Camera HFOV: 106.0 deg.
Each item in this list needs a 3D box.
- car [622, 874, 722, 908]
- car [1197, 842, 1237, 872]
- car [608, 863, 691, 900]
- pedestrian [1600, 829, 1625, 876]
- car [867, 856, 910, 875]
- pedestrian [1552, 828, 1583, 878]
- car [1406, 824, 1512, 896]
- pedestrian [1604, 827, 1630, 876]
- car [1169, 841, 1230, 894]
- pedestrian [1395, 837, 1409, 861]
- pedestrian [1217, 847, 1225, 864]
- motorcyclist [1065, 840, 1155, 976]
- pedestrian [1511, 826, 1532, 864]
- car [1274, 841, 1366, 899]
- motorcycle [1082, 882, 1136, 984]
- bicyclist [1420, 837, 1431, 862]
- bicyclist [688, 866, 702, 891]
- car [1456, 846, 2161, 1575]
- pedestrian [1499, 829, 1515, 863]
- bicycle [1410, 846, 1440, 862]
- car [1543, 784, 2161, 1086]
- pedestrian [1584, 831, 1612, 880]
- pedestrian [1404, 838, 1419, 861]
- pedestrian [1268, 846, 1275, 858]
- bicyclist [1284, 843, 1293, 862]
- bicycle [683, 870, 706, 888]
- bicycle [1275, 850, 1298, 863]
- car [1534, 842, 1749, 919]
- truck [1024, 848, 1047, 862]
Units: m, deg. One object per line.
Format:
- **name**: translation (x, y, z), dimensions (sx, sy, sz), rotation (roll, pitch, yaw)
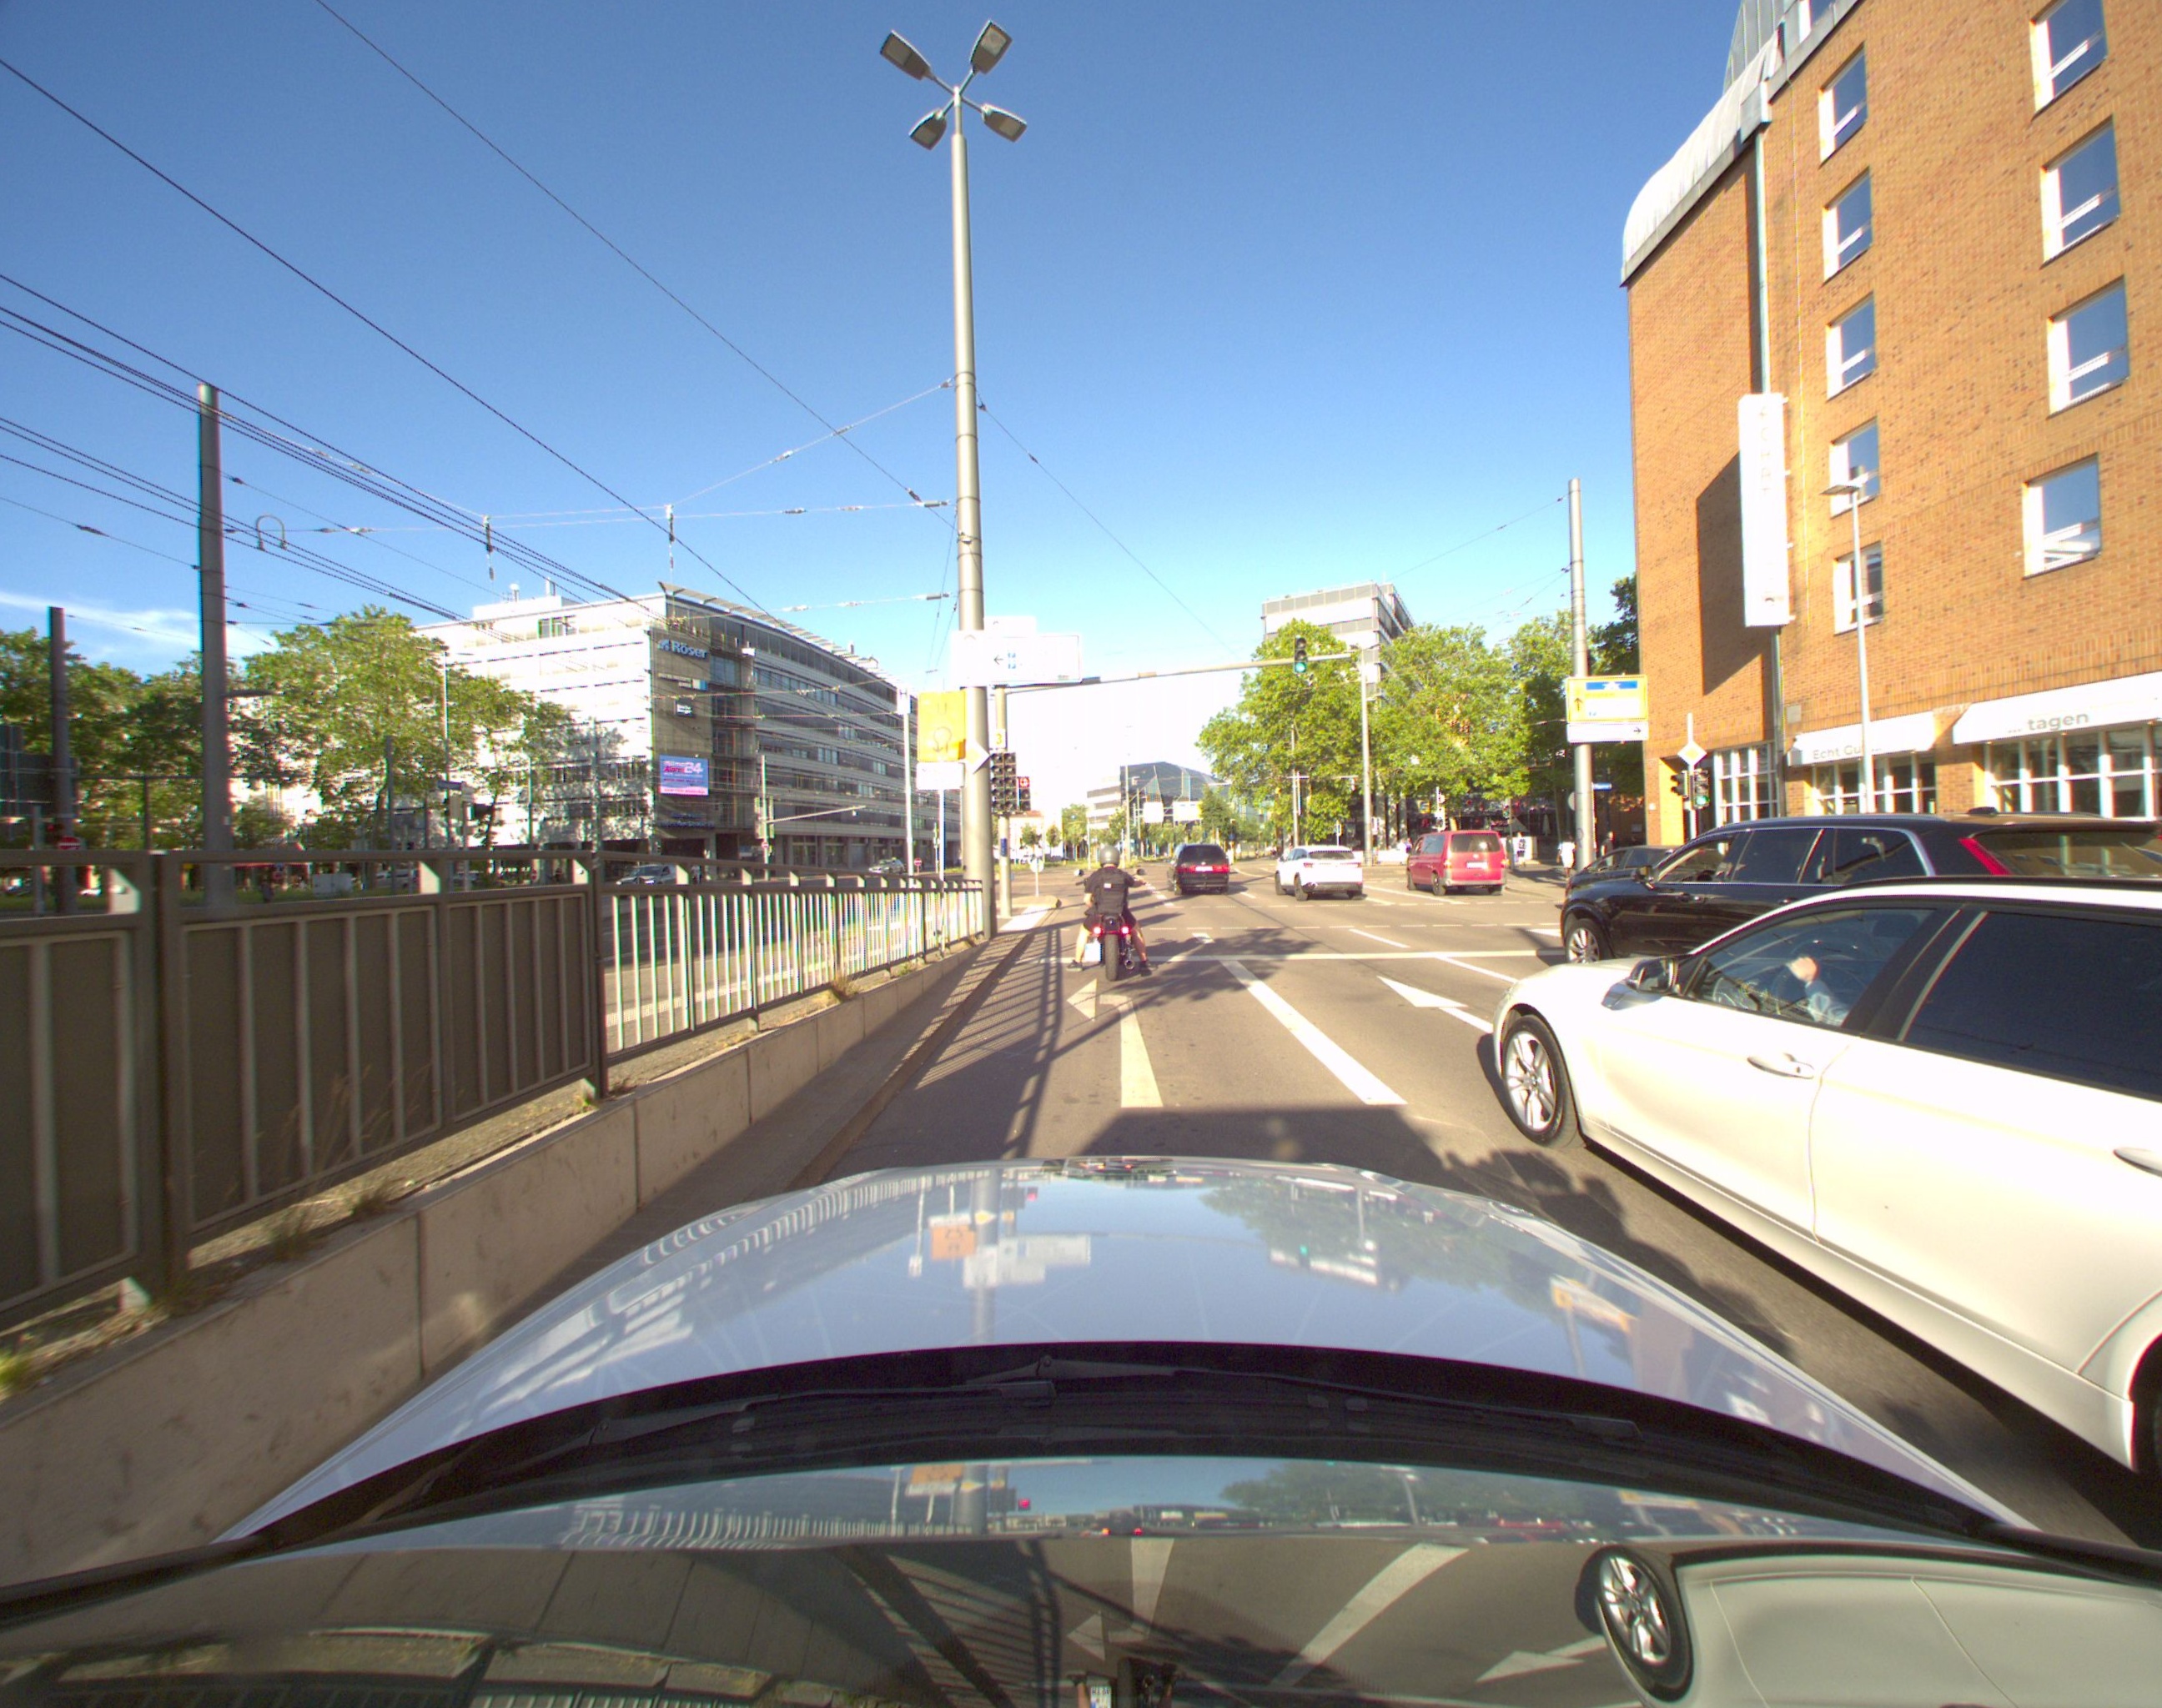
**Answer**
- **car**: translation (-13.854, 1.230, 27.693), dimensions (2.884, 1.063, 1.235), rotation (0, -1, -19)
- **car**: translation (7.922, 0.197, 47.744), dimensions (1.797, 1.678, 4.041), rotation (0, -1, 1)
- **car**: translation (-20.712, 1.276, 39.296), dimensions (1.821, 1.568, 4.237), rotation (-2, -1, -2)
- **pedestrian**: translation (20.036, -0.047, 30.706), dimensions (0.619, 1.729, 0.633), rotation (-1, -1, 18)
- **car**: translation (-16.953, 0.984, 71.928), dimensions (1.813, 1.568, 4.710), rotation (-3, -1, 12)
- **pedestrian**: translation (17.940, -0.029, 30.036), dimensions (0.591, 1.780, 0.681), rotation (-5, -2, -1)
- **car**: translation (11.765, 0.182, 25.678), dimensions (1.793, 2.009, 4.484), rotation (-2, -1, 9)
- **pedestrian**: translation (20.064, -0.086, 30.489), dimensions (0.727, 1.792, 0.515), rotation (-1, -1, 42)
- **car**: translation (3.965, 0.438, 27.785), dimensions (1.795, 1.678, 4.046), rotation (0, -1, 5)
- **pedestrian**: translation (20.722, -0.303, 52.583), dimensions (0.565, 1.532, 0.701), rotation (0, -1, -6)
- **pedestrian**: translation (12.538, 0.150, 73.189), dimensions (0.587, 1.557, 0.488), rotation (0, -1, -6)
- **motorcyclist**: translation (0.356, 0.646, 10.158), dimensions (1.027, 1.593, 0.874), rotation (-2, 0, 1)
- **pedestrian**: translation (22.378, -0.436, 41.379), dimensions (0.783, 1.898, 0.821), rotation (-1, -1, 21)
- **car**: translation (7.106, 0.474, 24.638), dimensions (1.725, 1.598, 4.043), rotation (0, -1, 2)
- **motorcycle**: translation (0.348, 0.922, 10.233), dimensions (0.598, 1.036, 2.235), rotation (0, 0, 2)
- **bicyclist**: translation (25.678, -0.314, 60.724), dimensions (0.582, 1.837, 0.403), rotation (0, -1, 1)
- **bicyclist**: translation (-24.653, 1.549, 51.970), dimensions (0.584, 1.534, 0.650), rotation (0, -1, 2)
- **car**: translation (3.052, 0.715, 2.666), dimensions (1.725, 1.457, 4.419), rotation (0, -1, 2)
- **pedestrian**: translation (21.449, -0.394, 40.988), dimensions (0.634, 1.700, 0.727), rotation (-1, -1, 21)
- **bicycle**: translation (25.659, -0.006, 60.721), dimensions (2.034, 1.214, 0.421), rotation (0, -1, 2)
- **car**: translation (6.233, 0.482, 7.037), dimensions (1.727, 1.732, 4.607), rotation (0, -1, -2)
- **pedestrian**: translation (18.889, 0.057, 29.781), dimensions (0.588, 1.780, 0.684), rotation (-3, -1, 13)
- **pedestrian**: translation (21.357, -0.279, 52.643), dimensions (0.567, 1.479, 0.699), rotation (0, -1, -14)
- **pedestrian**: translation (22.272, -0.221, 95.205), dimensions (0.814, 1.314, 0.640), rotation (-1, -1, 11)
- **bicyclist**: translation (17.728, -0.130, 69.597), dimensions (0.682, 1.673, 0.544), rotation (-2, -1, 21)
- **bicycle**: translation (-24.634, 1.569, 51.961), dimensions (0.458, 1.090, 1.815), rotation (-3, -1, 2)
- **bicycle**: translation (17.604, 0.190, 69.652), dimensions (1.854, 1.044, 0.540), rotation (-1, -1, 20)
- **car**: translation (11.754, 0.518, 17.454), dimensions (1.727, 1.450, 4.037), rotation (0, -1, -2)
- **truck**: translation (-6.672, 0.148, 120.080), dimensions (1.980, 1.879, 5.173), rotation (-4, -1, 12)
